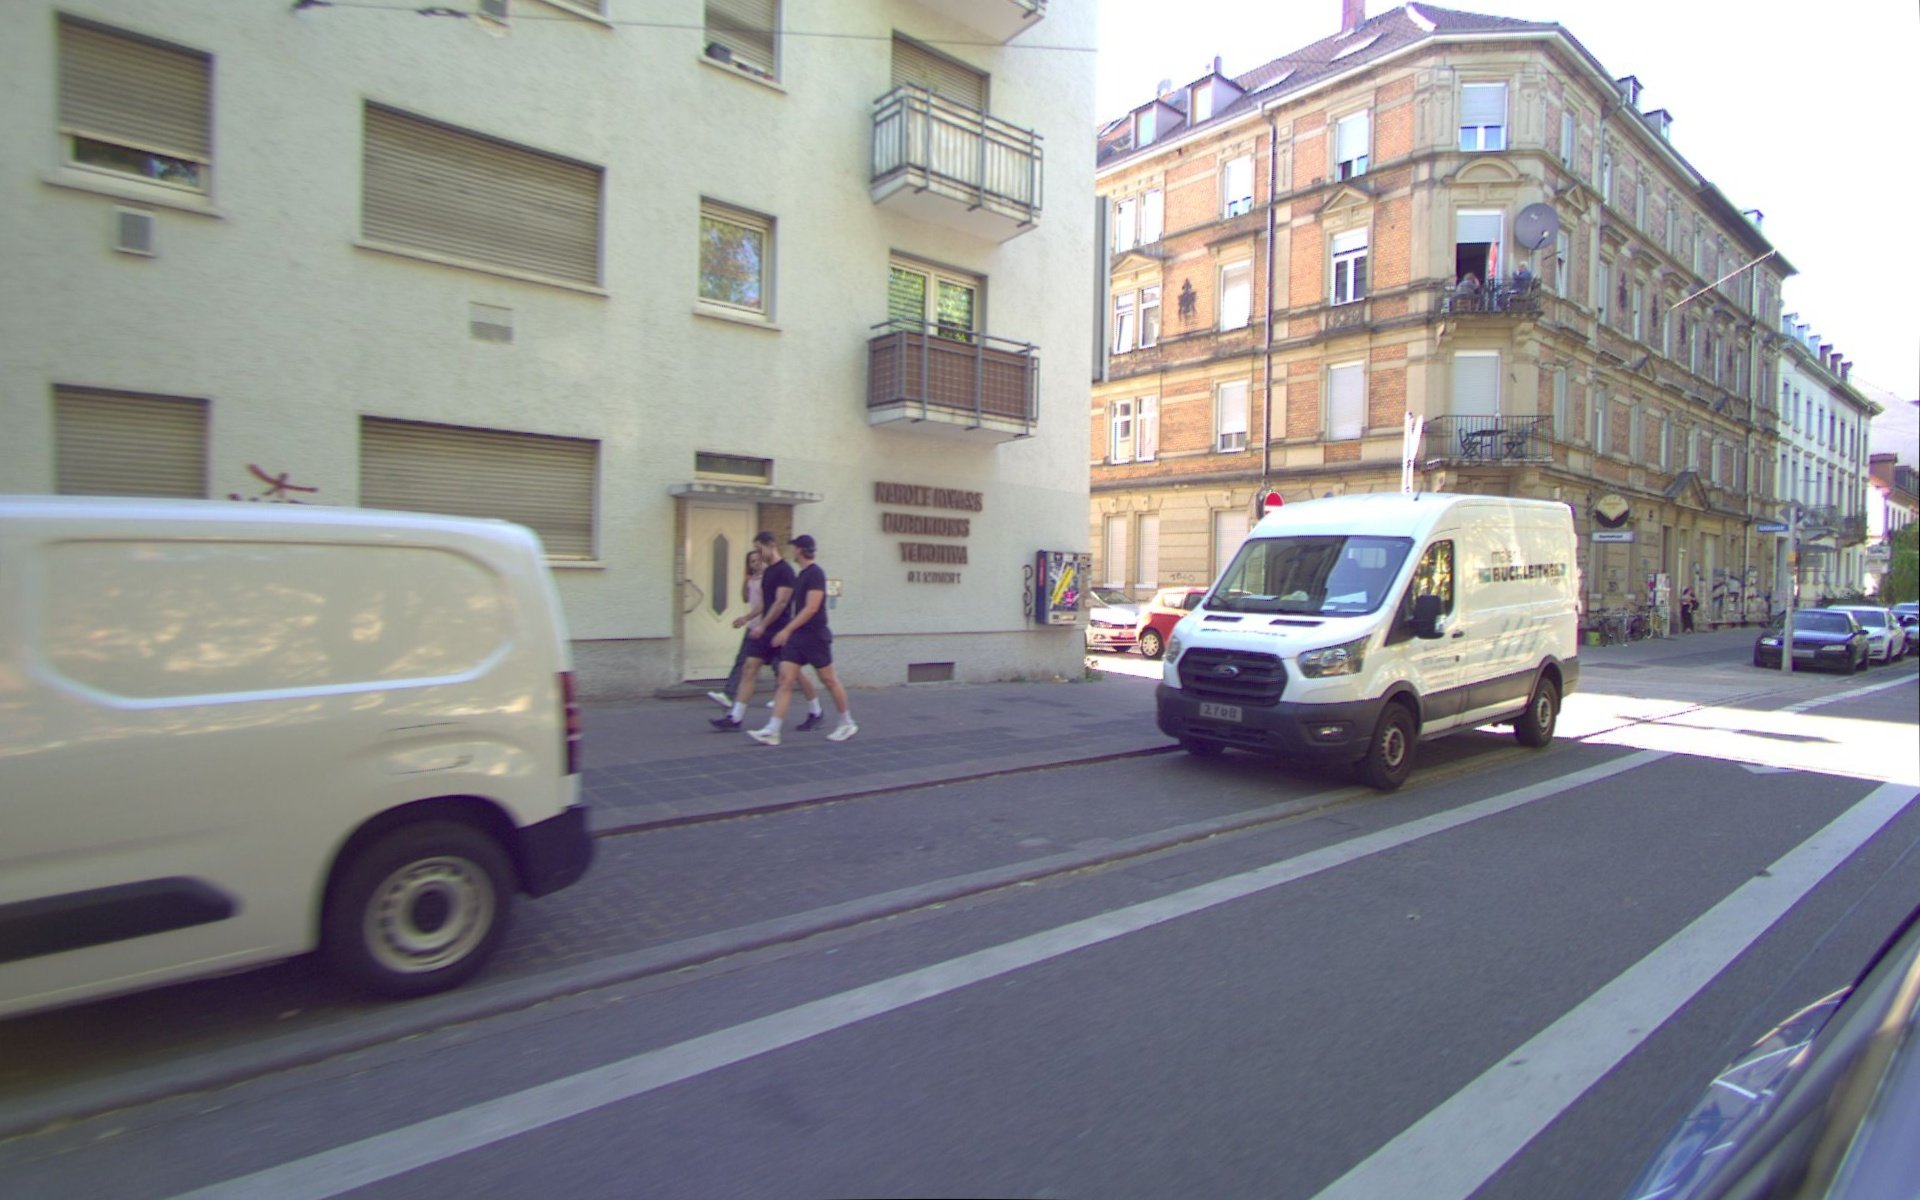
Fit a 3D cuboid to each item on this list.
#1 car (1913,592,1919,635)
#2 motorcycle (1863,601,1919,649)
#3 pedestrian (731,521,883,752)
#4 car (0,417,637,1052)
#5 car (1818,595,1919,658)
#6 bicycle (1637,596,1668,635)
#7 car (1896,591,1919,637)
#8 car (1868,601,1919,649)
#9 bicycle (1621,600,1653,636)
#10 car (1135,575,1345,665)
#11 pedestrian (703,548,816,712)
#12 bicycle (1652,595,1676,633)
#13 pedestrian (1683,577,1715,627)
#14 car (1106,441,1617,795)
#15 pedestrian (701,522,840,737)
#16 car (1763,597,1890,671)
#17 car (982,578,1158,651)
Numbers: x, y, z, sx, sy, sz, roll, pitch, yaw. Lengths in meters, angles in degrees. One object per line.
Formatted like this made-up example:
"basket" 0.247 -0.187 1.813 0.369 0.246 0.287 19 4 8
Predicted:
"car" 36.554 0.517 37.424 2.770 1.561 1.514 0 3 -40
"motorcycle" 27.195 0.722 28.793 2.122 1.305 0.636 1 1 29
"pedestrian" -1.310 0.268 8.685 1.062 1.845 0.711 -1 3 -38
"car" -3.550 0.326 3.445 4.275 1.841 1.863 -1 6 -41
"car" 24.062 0.645 26.602 3.942 1.437 1.606 0 4 -40
"bicycle" 21.013 0.454 30.701 1.347 1.168 0.379 0 1 -38
"car" 33.228 0.481 34.316 3.673 1.469 1.611 0 4 -39
"car" 29.075 0.747 30.794 3.659 1.288 1.653 -1 4 -41
"bicycle" 19.815 0.512 29.604 1.347 1.013 0.379 0 1 -38
"car" 5.476 0.330 20.113 1.758 1.594 3.658 1 1 -40
"pedestrian" -2.110 0.283 10.626 0.916 1.598 0.634 -1 7 -38
"bicycle" 21.958 0.431 31.557 1.118 1.168 0.274 0 1 -38
"pedestrian" 25.655 0.061 35.147 0.753 1.677 0.716 0 1 -41
"car" 4.245 0.087 9.999 5.981 2.526 2.153 0 1 -41
"pedestrian" -1.722 0.232 9.217 1.062 1.845 0.627 -1 3 -38
"car" 20.043 0.716 23.365 3.990 1.437 1.652 -1 4 -42
"car" 2.479 0.271 23.681 1.758 1.473 4.035 0 2 -38
